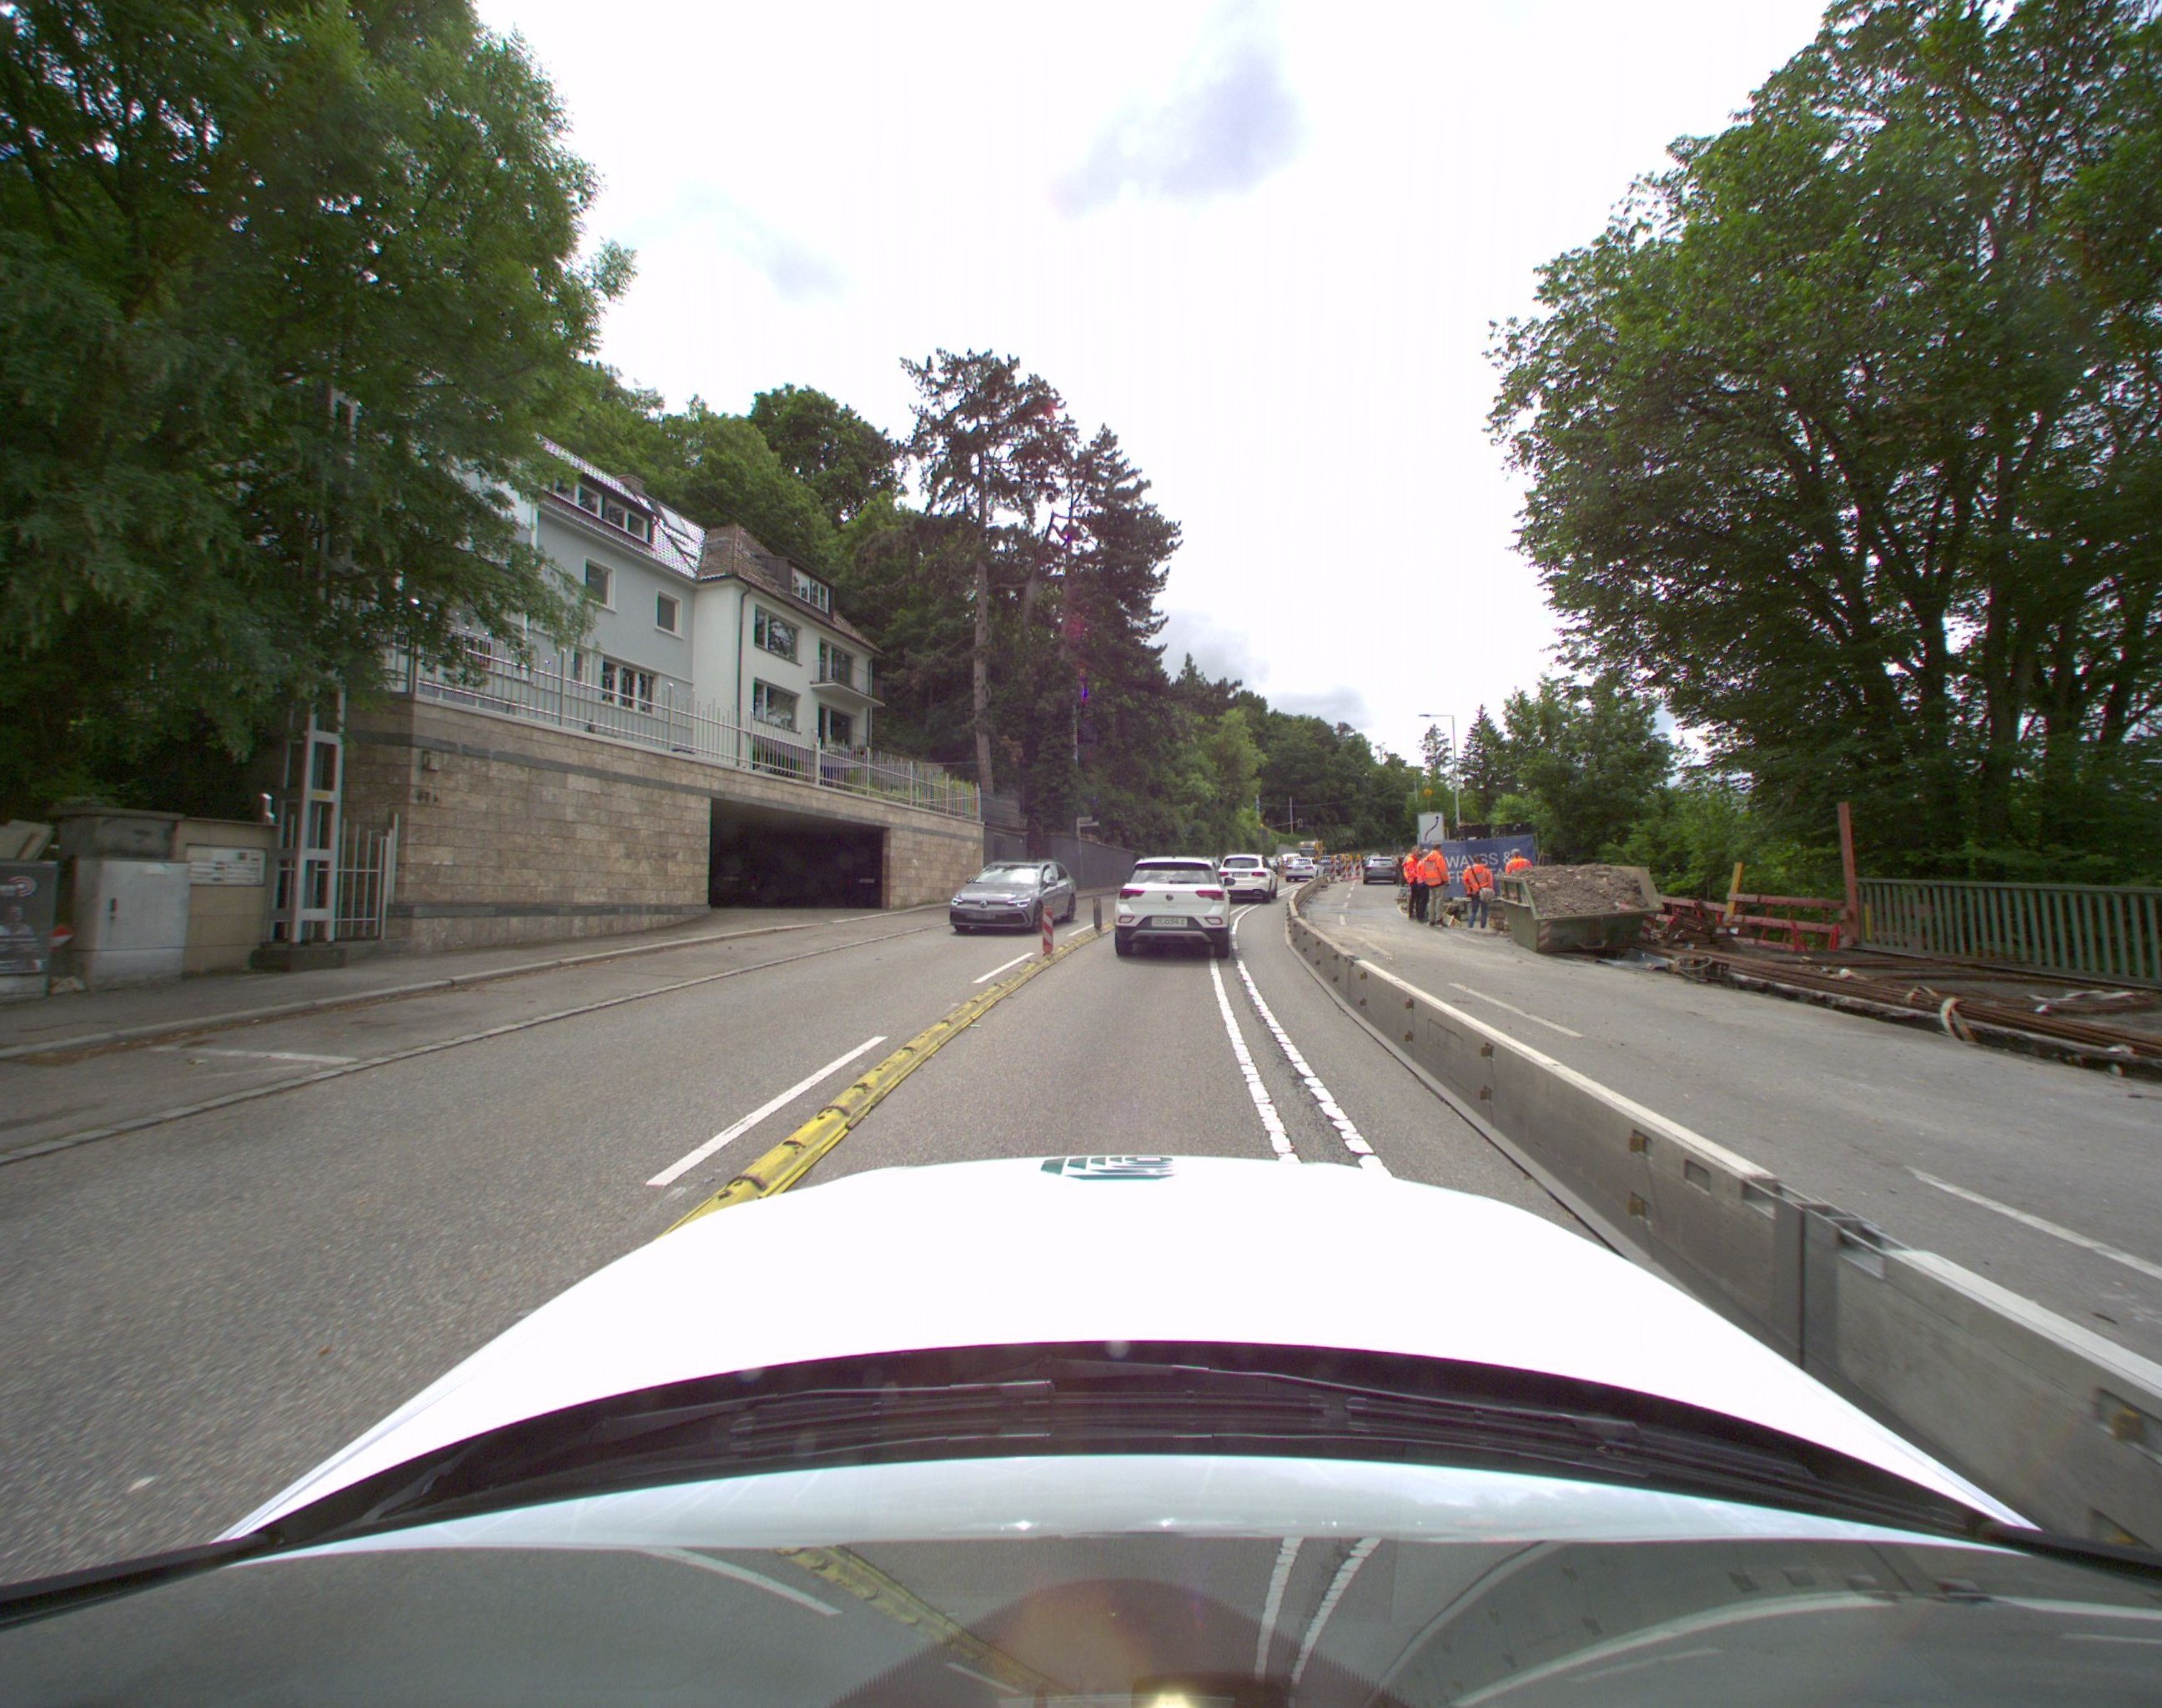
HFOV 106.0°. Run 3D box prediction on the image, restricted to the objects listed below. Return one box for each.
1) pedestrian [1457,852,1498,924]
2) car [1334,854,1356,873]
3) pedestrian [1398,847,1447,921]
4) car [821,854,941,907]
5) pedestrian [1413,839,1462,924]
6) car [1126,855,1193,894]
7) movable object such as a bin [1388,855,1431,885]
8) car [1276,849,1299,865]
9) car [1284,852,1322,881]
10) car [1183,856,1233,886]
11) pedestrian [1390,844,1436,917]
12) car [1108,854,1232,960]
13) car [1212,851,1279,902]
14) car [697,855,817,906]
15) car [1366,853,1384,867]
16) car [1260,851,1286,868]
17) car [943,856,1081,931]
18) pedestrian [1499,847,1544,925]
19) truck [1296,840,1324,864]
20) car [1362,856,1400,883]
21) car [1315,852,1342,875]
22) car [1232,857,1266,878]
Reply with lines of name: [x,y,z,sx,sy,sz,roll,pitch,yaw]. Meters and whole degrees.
pedestrian: [9.030,0.756,18.581,0.775,1.608,0.671,-1,-1,22]
car: [24.551,0.835,75.597,1.794,1.663,4.020,-1,0,20]
pedestrian: [8.234,0.712,19.664,0.871,1.731,0.880,0,-1,6]
car: [-5.920,0.820,24.552,1.768,1.453,3.718,0,-2,17]
pedestrian: [8.136,0.613,18.608,0.689,1.906,0.824,0,-1,-6]
car: [3.299,0.798,33.504,1.753,1.435,4.329,1,0,19]
movable object such as a bin: [15.715,0.752,39.054,1.388,1.425,1.909,0,0,4]
car: [19.749,0.312,77.819,1.753,1.452,4.329,1,0,19]
car: [13.490,0.727,49.411,1.794,1.663,4.021,-1,0,21]
car: [6.695,0.849,42.560,1.753,1.452,4.330,1,0,20]
pedestrian: [8.408,0.656,20.653,0.871,1.822,0.880,0,-1,6]
car: [1.659,0.784,13.899,1.798,1.531,4.012,0,0,10]
car: [5.830,0.748,28.529,1.795,1.663,4.019,-1,0,18]
car: [-9.711,0.817,24.711,1.760,1.419,3.553,1,-2,9]
car: [31.288,0.628,86.730,1.779,1.368,4.019,-1,-1,19]
car: [17.014,0.508,72.018,1.753,1.452,4.330,1,0,20]
car: [-1.352,0.776,17.831,1.755,1.435,4.324,0,0,13]
pedestrian: [9.737,0.696,18.017,0.776,1.688,0.789,-1,-1,22]
truck: [31.915,-0.201,113.230,2.879,3.155,7.623,-1,-1,21]
car: [15.828,0.799,42.990,1.779,1.368,4.020,-1,-1,21]
car: [19.247,0.726,63.294,1.794,1.663,4.020,-1,0,20]
car: [12.317,0.938,59.506,1.753,1.452,4.330,1,0,20]
